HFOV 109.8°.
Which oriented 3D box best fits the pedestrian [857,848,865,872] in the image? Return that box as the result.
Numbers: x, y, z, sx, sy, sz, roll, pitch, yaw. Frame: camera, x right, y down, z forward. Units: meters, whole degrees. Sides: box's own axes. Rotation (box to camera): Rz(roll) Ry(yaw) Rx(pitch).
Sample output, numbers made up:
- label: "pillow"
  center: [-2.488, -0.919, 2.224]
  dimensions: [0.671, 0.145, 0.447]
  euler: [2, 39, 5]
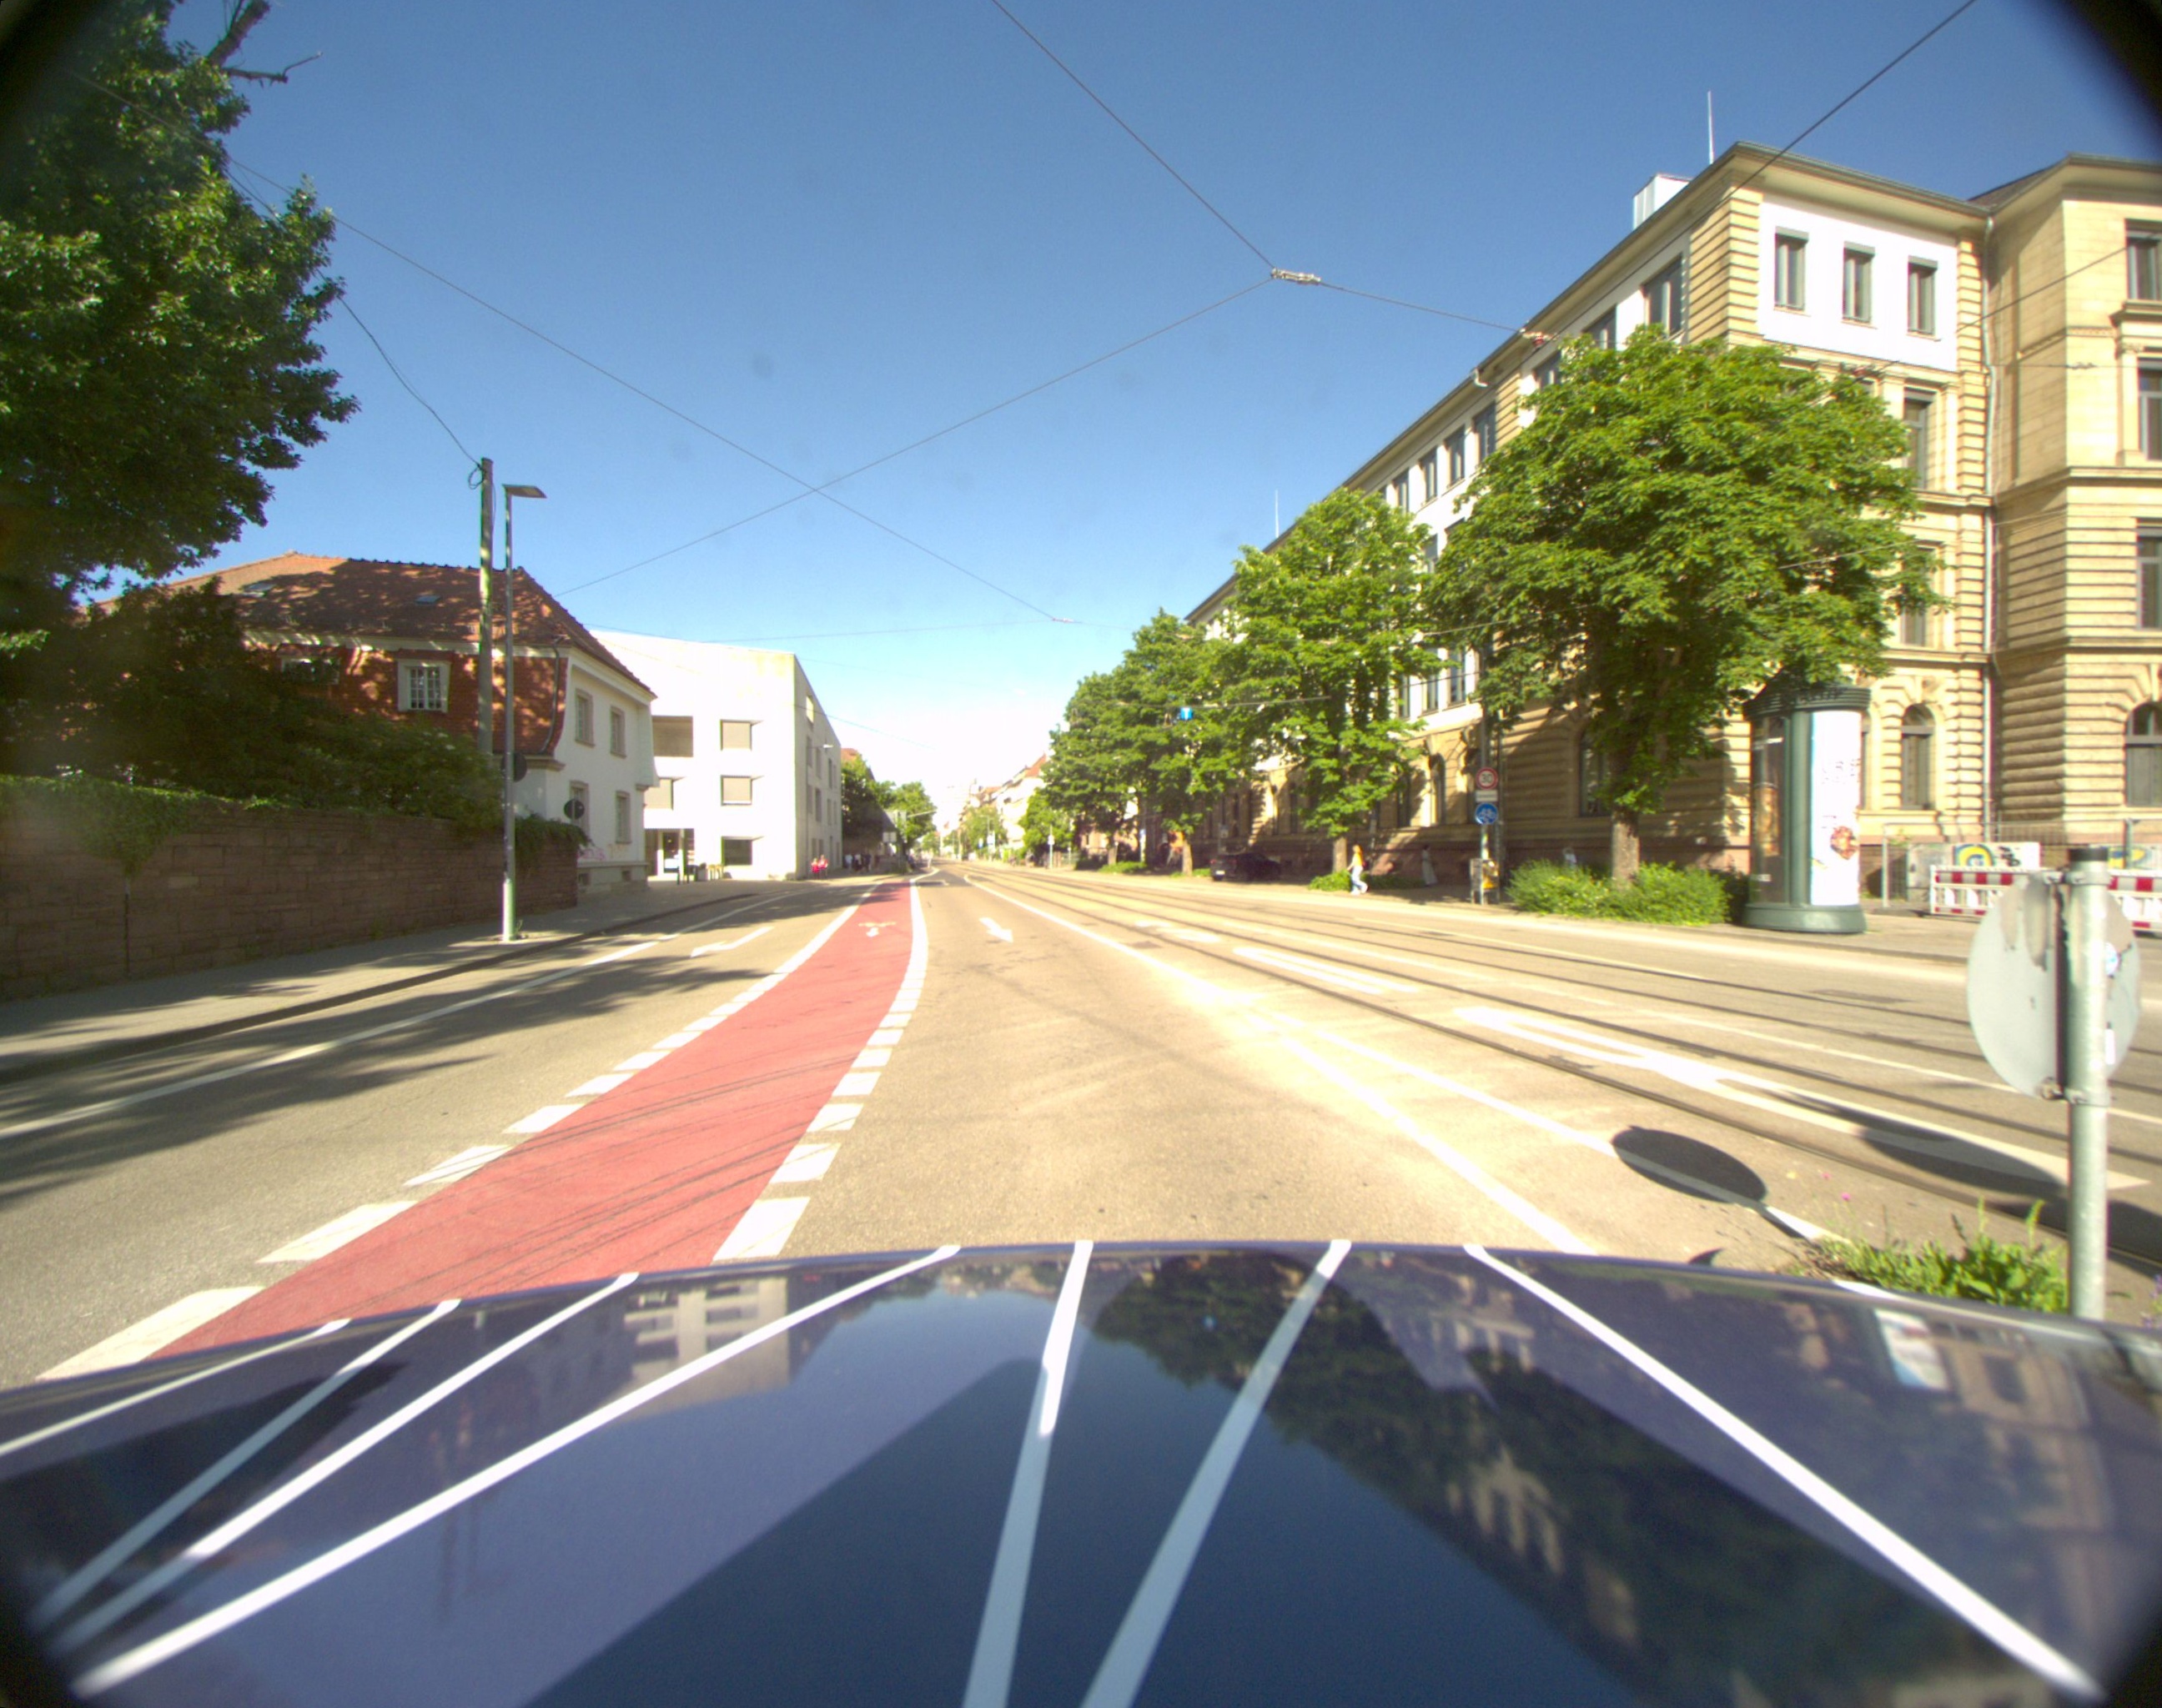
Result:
- label: "pedestrian"
  center: [-17.161, 0.461, 59.230]
  dimensions: [0.588, 1.795, 0.545]
  euler: [-1, 1, -13]

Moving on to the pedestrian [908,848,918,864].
- label: "pedestrian"
  center: [-18.595, 0.182, 84.111]
  dimensions: [0.677, 1.728, 0.933]
  euler: [0, 1, 20]

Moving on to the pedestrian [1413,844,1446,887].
- label: "pedestrian"
  center: [13.377, 0.430, 29.166]
  dimensions: [0.673, 1.558, 0.857]
  euler: [-5, 2, -13]

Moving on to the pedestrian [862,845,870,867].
- label: "pedestrian"
  center: [-17.756, 0.195, 62.880]
  dimensions: [0.588, 1.795, 0.545]
  euler: [-1, 1, -13]

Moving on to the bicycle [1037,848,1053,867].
- label: "bicycle"
  center: [-3.709, 0.321, 79.211]
  dimensions: [1.003, 1.876, 3.894]
  euler: [-1, 2, 6]

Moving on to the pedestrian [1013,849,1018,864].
- label: "pedestrian"
  center: [-8.177, 0.346, 94.980]
  dimensions: [0.579, 1.845, 0.684]
  euler: [0, 1, -11]

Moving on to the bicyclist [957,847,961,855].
- label: "bicyclist"
  center: [-27.933, -0.636, 173.960]
  dimensions: [1.004, 1.712, 0.983]
  euler: [-2, 2, -12]

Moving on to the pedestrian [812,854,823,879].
- label: "pedestrian"
  center: [-16.355, 0.783, 47.147]
  dimensions: [0.535, 1.557, 0.519]
  euler: [-1, 1, -13]

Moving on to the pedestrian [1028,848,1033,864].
- label: "pedestrian"
  center: [-6.209, 0.242, 93.100]
  dimensions: [0.579, 1.845, 0.653]
  euler: [0, 1, -11]

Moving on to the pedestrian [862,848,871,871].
- label: "pedestrian"
  center: [-17.382, 0.450, 61.559]
  dimensions: [0.588, 1.795, 0.582]
  euler: [-1, 1, -13]

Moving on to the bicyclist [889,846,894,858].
- label: "bicyclist"
  center: [-35.025, -0.349, 140.451]
  dimensions: [0.813, 2.194, 0.983]
  euler: [-2, 2, -10]

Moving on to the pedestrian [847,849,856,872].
- label: "pedestrian"
  center: [-17.834, 0.483, 59.106]
  dimensions: [0.588, 1.795, 0.545]
  euler: [-1, 1, -13]

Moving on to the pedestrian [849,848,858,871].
- label: "pedestrian"
  center: [-18.297, 0.436, 61.101]
  dimensions: [0.588, 1.795, 0.582]
  euler: [-1, 1, -13]

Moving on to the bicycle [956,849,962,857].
- label: "bicycle"
  center: [-27.920, -0.299, 173.978]
  dimensions: [1.004, 1.672, 2.981]
  euler: [-2, 2, -12]

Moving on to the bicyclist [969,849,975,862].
- label: "bicyclist"
  center: [-19.064, 0.218, 133.022]
  dimensions: [1.004, 2.255, 1.019]
  euler: [-2, 2, -9]

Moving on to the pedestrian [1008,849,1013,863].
- label: "pedestrian"
  center: [-9.278, 0.248, 99.966]
  dimensions: [0.579, 1.845, 0.684]
  euler: [0, 1, -11]

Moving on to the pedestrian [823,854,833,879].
- label: "pedestrian"
  center: [-15.740, 0.768, 47.240]
  dimensions: [0.535, 1.557, 0.519]
  euler: [-1, 1, -13]

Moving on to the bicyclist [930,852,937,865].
- label: "bicyclist"
  center: [-17.020, 0.464, 87.627]
  dimensions: [0.665, 1.453, 0.622]
  euler: [-2, 2, -8]

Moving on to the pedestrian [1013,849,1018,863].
- label: "pedestrian"
  center: [-8.632, 0.225, 100.139]
  dimensions: [0.579, 1.845, 0.684]
  euler: [0, 1, -11]

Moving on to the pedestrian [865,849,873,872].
- label: "pedestrian"
  center: [-16.550, 0.510, 59.352]
  dimensions: [0.588, 1.795, 0.519]
  euler: [-1, 1, -13]

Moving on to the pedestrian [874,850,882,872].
- label: "pedestrian"
  center: [-15.958, 0.522, 59.697]
  dimensions: [0.588, 1.717, 0.519]
  euler: [-1, 1, -13]

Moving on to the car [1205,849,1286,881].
- label: "car"
  center: [8.573, 0.537, 39.470]
  dimensions: [4.118, 1.565, 1.916]
  euler: [-1, 1, -39]

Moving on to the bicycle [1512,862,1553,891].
- label: "bicycle"
  center: [15.303, 0.754, 25.756]
  dimensions: [0.398, 0.898, 1.359]
  euler: [-2, 2, -10]

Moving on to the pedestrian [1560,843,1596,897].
- label: "pedestrian"
  center: [14.424, 0.455, 22.068]
  dimensions: [0.579, 1.553, 0.653]
  euler: [0, 1, -12]

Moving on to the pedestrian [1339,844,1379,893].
- label: "pedestrian"
  center: [9.681, 0.519, 26.492]
  dimensions: [0.773, 1.658, 1.032]
  euler: [2, -4, -25]

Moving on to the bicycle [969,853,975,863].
- label: "bicycle"
  center: [-19.053, 0.743, 133.086]
  dimensions: [1.004, 1.672, 2.981]
  euler: [-2, 2, -9]

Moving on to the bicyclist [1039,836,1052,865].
- label: "bicyclist"
  center: [-3.713, -0.370, 79.445]
  dimensions: [1.003, 2.959, 1.474]
  euler: [-1, 2, 6]

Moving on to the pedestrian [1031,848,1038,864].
- label: "pedestrian"
  center: [-5.377, 0.230, 87.921]
  dimensions: [0.729, 1.845, 0.653]
  euler: [0, 1, -9]

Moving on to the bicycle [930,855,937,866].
- label: "bicycle"
  center: [-17.015, 0.754, 87.656]
  dimensions: [0.665, 1.146, 1.670]
  euler: [-2, 2, -8]
